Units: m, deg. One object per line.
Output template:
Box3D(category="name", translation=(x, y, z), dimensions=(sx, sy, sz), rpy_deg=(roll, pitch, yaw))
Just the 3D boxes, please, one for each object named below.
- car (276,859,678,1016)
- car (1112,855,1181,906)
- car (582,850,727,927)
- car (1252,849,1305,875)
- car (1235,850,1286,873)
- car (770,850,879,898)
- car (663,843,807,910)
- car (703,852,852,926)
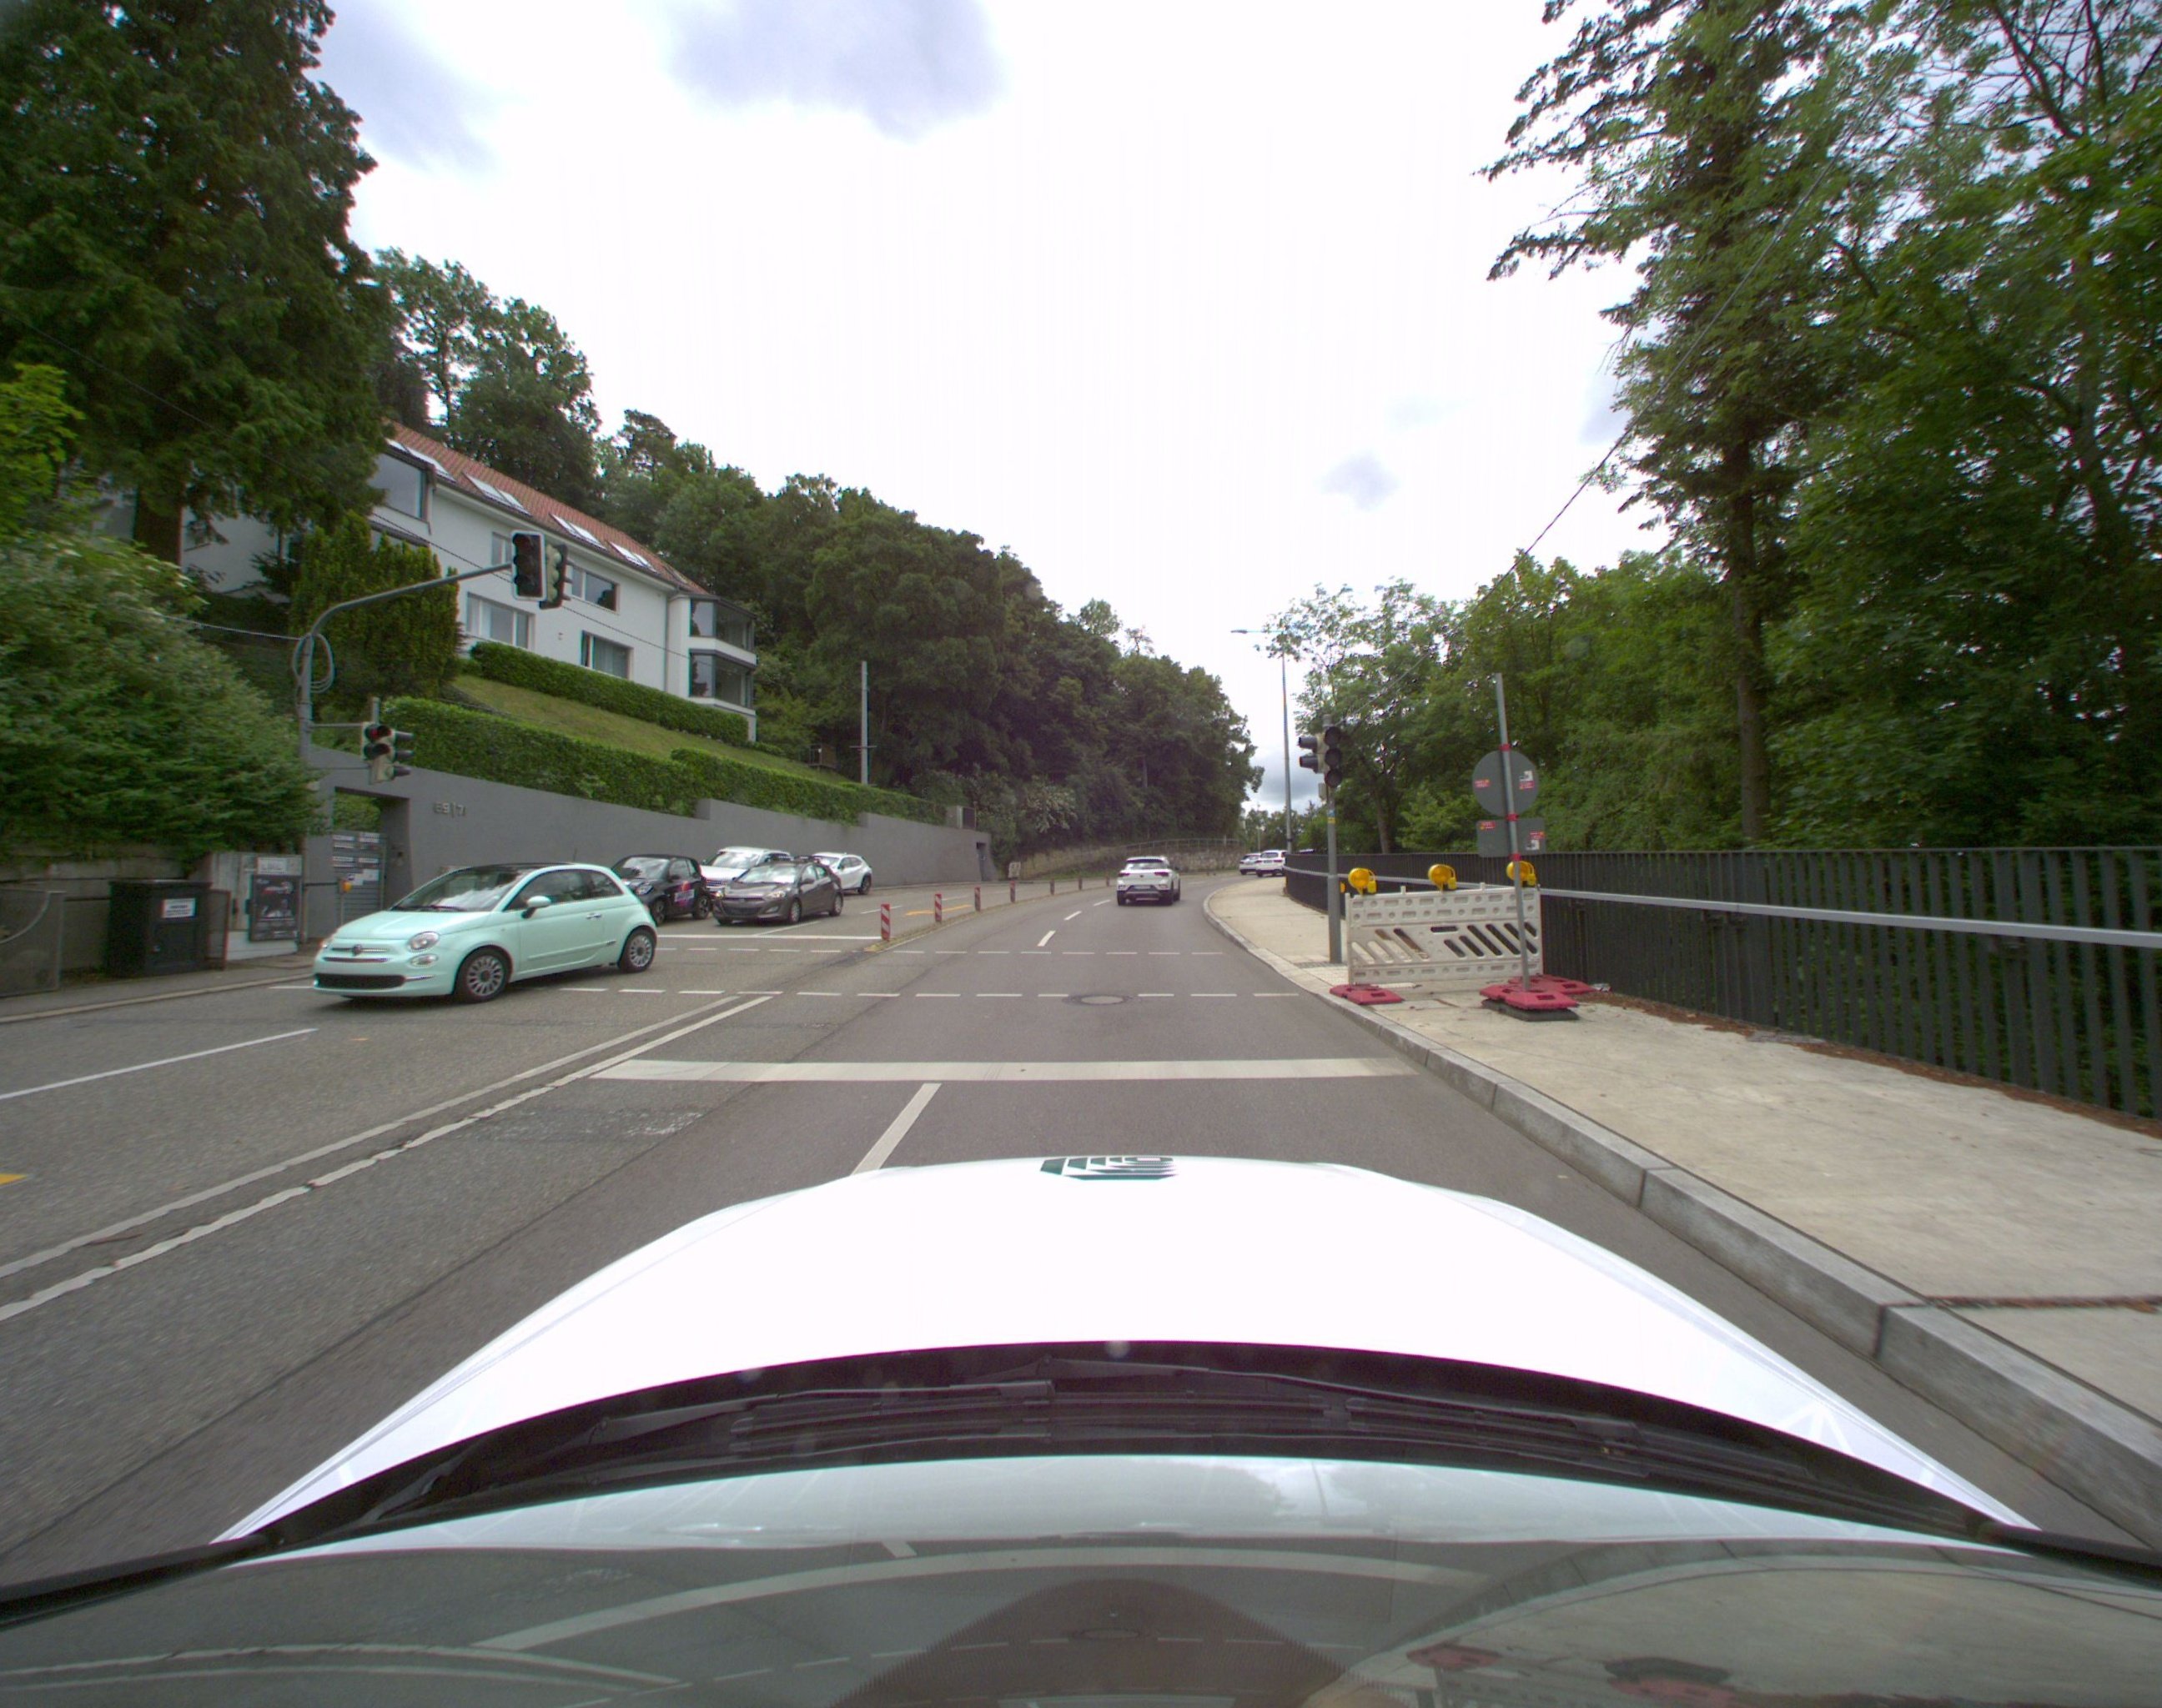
Box3D(category="car", translation=(-6.850, 0.817, 9.792), dimensions=(1.700, 1.466, 3.671), rpy_deg=(1, 0, 10))
Box3D(category="car", translation=(2.242, 0.811, 27.002), dimensions=(1.855, 1.536, 3.815), rpy_deg=(0, 0, 11))
Box3D(category="car", translation=(-9.958, 0.739, 19.269), dimensions=(1.704, 1.573, 2.960), rpy_deg=(3, 1, 2))
Box3D(category="car", translation=(12.558, 0.509, 51.575), dimensions=(1.974, 1.586, 4.025), rpy_deg=(0, -1, 34))
Box3D(category="car", translation=(12.540, 0.520, 56.805), dimensions=(1.888, 1.574, 4.025), rpy_deg=(0, -1, 39))
Box3D(category="car", translation=(-9.173, 0.688, 29.593), dimensions=(1.821, 1.572, 4.488), rpy_deg=(1, -1, 11))
Box3D(category="car", translation=(-9.933, 0.608, 23.876), dimensions=(1.850, 1.731, 4.766), rpy_deg=(2, 0, 4))
Box3D(category="car", translation=(-7.211, 0.784, 19.834), dimensions=(1.702, 1.598, 4.213), rpy_deg=(0, -1, 6))
